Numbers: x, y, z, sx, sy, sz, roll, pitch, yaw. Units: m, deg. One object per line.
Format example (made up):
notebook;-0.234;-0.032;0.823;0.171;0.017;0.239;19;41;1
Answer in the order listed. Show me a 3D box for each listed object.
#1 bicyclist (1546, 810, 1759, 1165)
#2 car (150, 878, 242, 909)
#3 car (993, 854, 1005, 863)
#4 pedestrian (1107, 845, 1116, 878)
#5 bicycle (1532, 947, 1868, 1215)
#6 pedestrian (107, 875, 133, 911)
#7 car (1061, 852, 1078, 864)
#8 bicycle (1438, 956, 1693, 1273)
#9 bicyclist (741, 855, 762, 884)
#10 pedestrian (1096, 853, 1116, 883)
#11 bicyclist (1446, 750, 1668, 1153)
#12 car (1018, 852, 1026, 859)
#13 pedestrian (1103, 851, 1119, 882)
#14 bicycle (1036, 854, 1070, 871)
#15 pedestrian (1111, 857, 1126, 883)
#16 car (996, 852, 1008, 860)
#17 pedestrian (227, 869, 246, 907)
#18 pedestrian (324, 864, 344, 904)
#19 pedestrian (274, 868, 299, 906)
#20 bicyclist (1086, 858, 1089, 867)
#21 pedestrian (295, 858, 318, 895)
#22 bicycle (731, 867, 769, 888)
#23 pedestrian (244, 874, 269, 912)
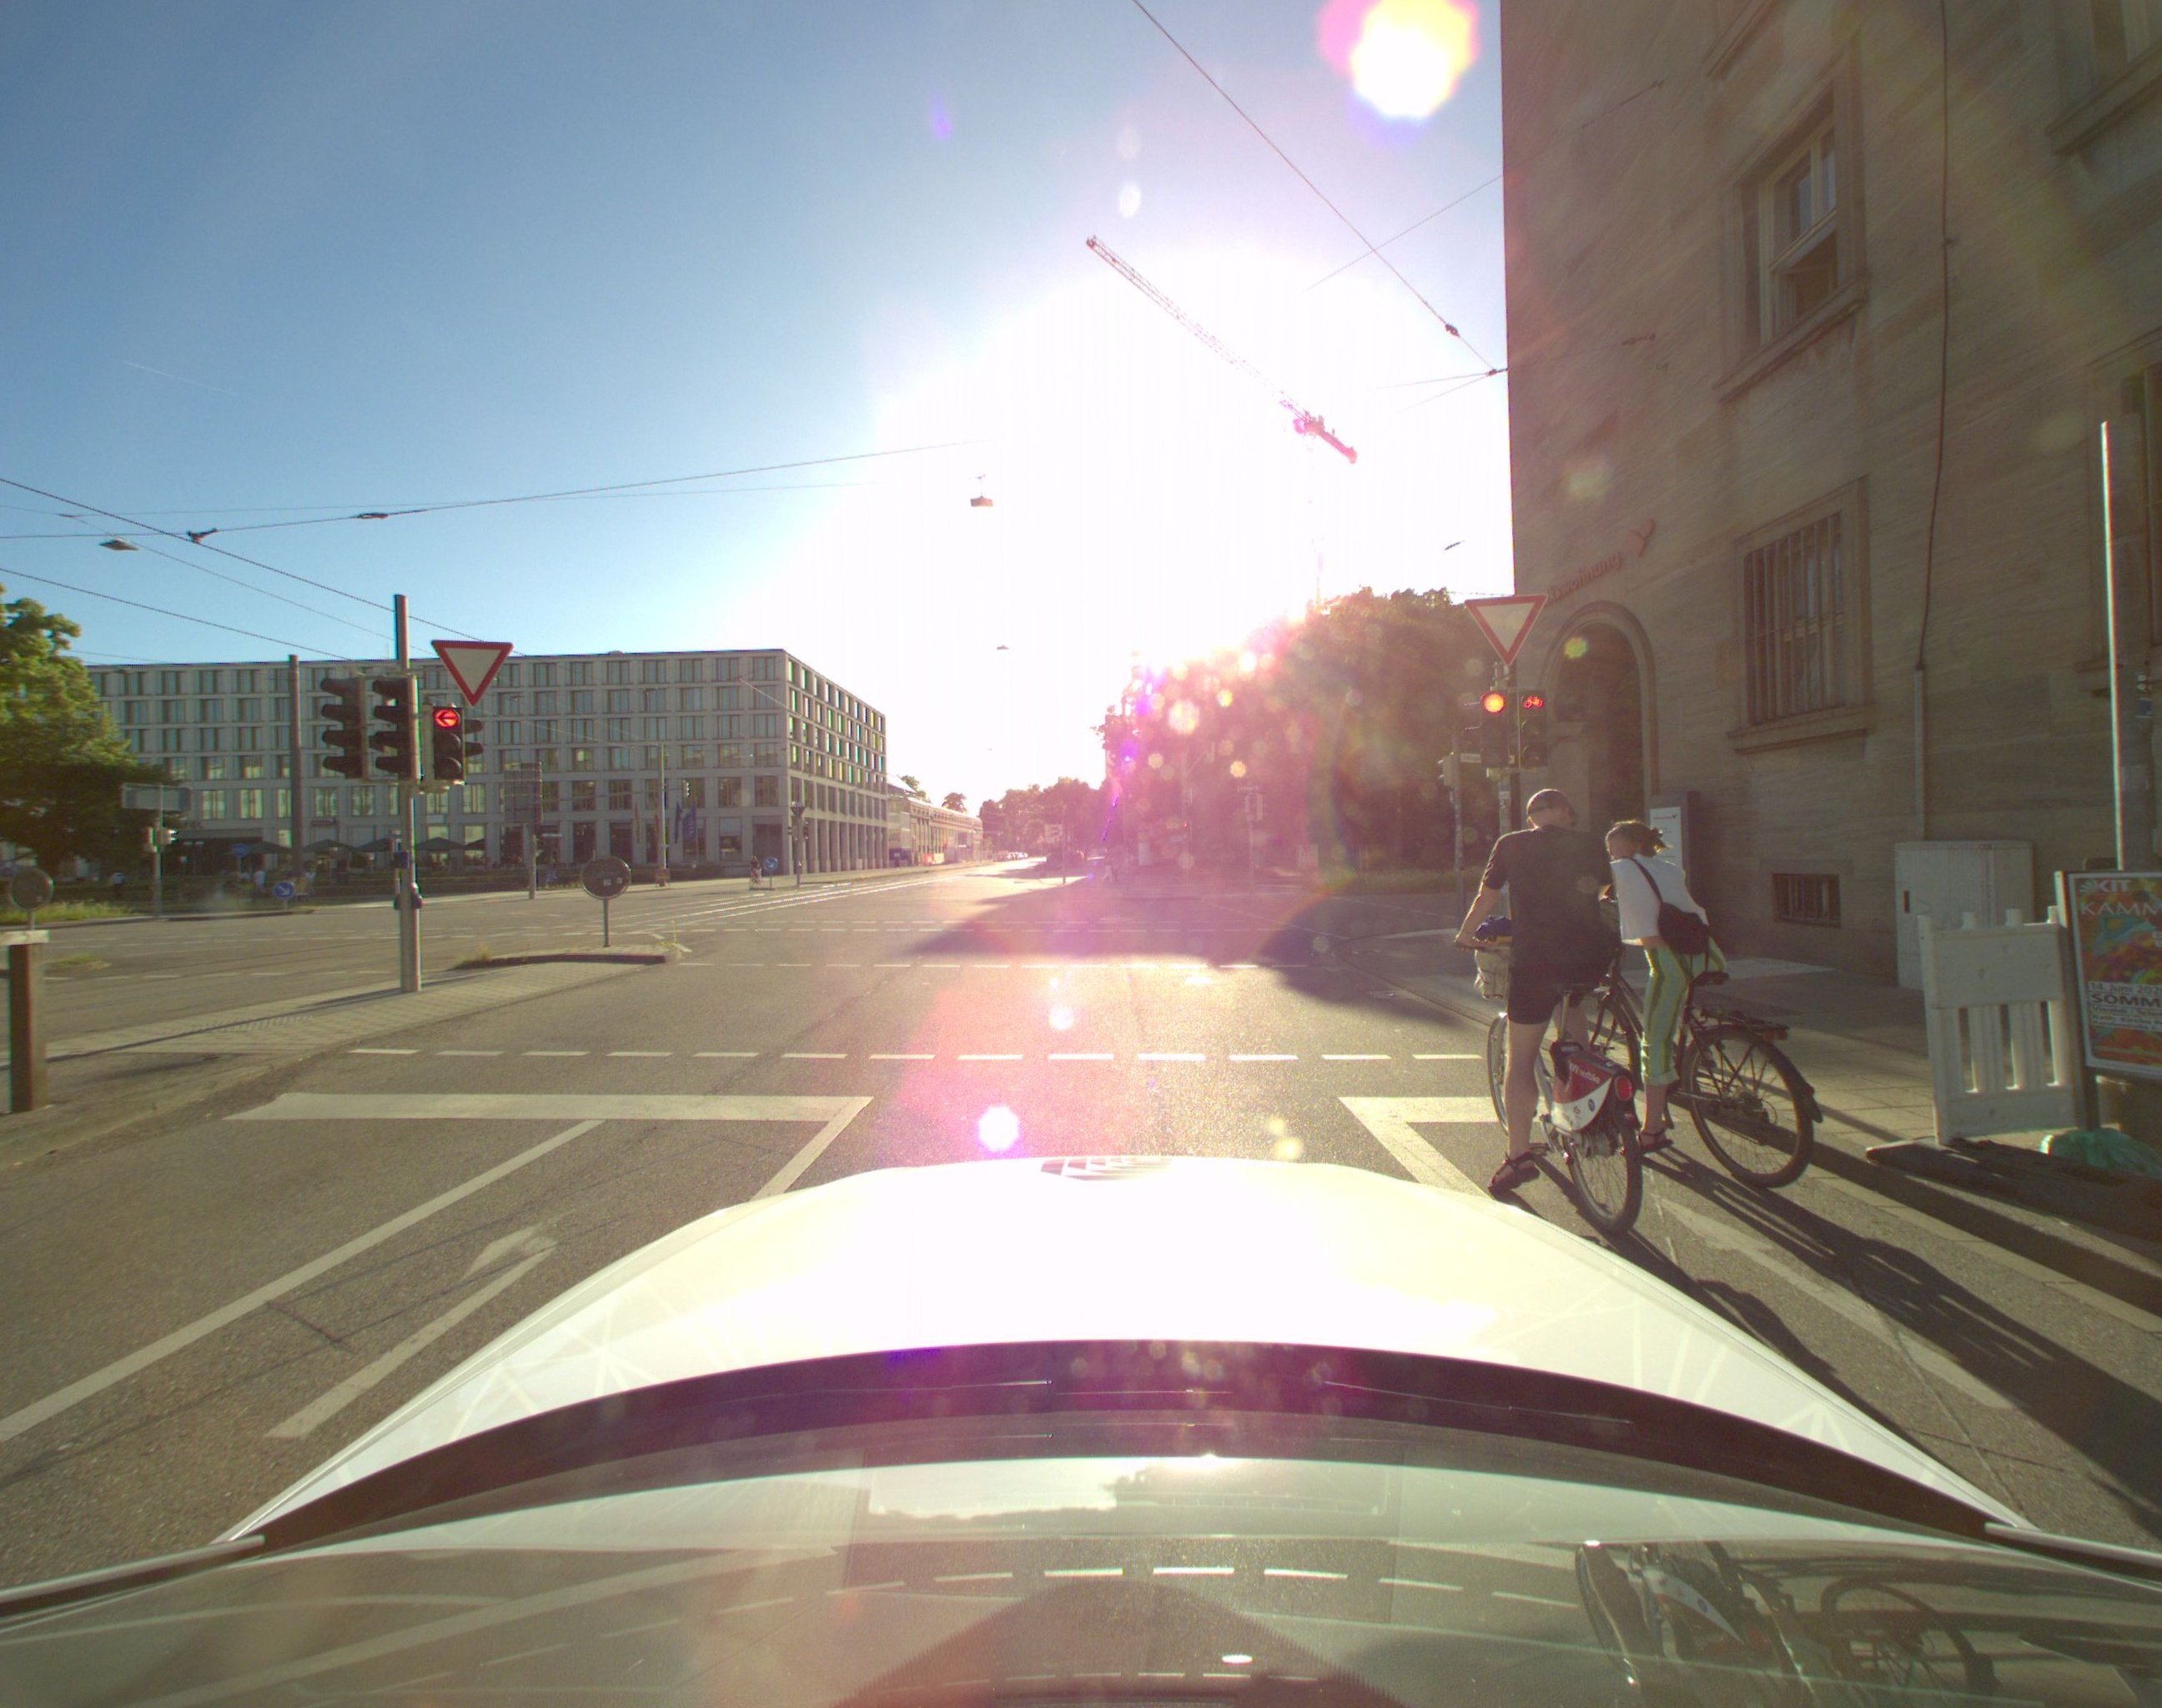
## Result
bicyclist;2.961;0.636;4.306;0.519;1.679;0.860;-2;0;5
car;-46.590;2.064;42.919;3.174;1.438;1.471;-2;0;0
car;-15.721;0.920;156.635;1.724;1.653;4.002;-2;0;2
pedestrian;1.705;0.415;44.901;0.358;1.804;0.508;-2;0;14
bicycle;3.095;1.053;4.342;0.424;0.876;1.953;-2;0;5
pedestrian;-52.364;2.103;44.381;0.557;1.903;0.684;-2;0;10
car;-1.286;0.433;92.347;1.814;1.279;3.999;-2;0;0
bicycle;2.201;1.076;3.961;0.387;0.905;1.956;-2;0;10
bicyclist;-19.530;0.917;48.290;0.872;1.641;0.822;-2;0;3
pedestrian;1.344;0.758;43.630;0.980;1.587;0.661;-2;-1;3
bicyclist;2.150;0.411;3.772;0.665;1.678;0.659;-2;0;11
car;-14.049;0.324;195.153;1.478;1.750;4.002;-2;0;2
pedestrian;1.640;0.691;44.332;0.792;1.639;0.534;-2;0;4
bicycle;-2.324;0.727;67.371;2.728;1.367;0.633;-1;-1;12
pedestrian;1.971;0.828;43.220;0.749;1.332;0.743;-2;0;3
car;-15.527;0.375;160.702;1.724;1.653;4.002;-2;0;2
pedestrian;-45.292;1.815;43.662;0.490;2.013;0.493;-2;0;14
pedestrian;-42.334;1.691;46.164;0.568;2.280;0.532;-2;0;-5
pedestrian;-43.543;1.815;44.631;0.648;2.069;0.649;-2;-4;-5
bicyclist;0.816;1.019;98.466;0.317;1.127;0.291;-2;0;1
pedestrian;-43.505;1.244;45.735;0.528;2.013;0.800;-2;0;-5
bicycle;-19.541;1.369;48.183;0.872;1.121;3.015;-2;0;3
pedestrian;-45.043;2.105;44.479;0.528;2.013;0.800;-2;0;-5
